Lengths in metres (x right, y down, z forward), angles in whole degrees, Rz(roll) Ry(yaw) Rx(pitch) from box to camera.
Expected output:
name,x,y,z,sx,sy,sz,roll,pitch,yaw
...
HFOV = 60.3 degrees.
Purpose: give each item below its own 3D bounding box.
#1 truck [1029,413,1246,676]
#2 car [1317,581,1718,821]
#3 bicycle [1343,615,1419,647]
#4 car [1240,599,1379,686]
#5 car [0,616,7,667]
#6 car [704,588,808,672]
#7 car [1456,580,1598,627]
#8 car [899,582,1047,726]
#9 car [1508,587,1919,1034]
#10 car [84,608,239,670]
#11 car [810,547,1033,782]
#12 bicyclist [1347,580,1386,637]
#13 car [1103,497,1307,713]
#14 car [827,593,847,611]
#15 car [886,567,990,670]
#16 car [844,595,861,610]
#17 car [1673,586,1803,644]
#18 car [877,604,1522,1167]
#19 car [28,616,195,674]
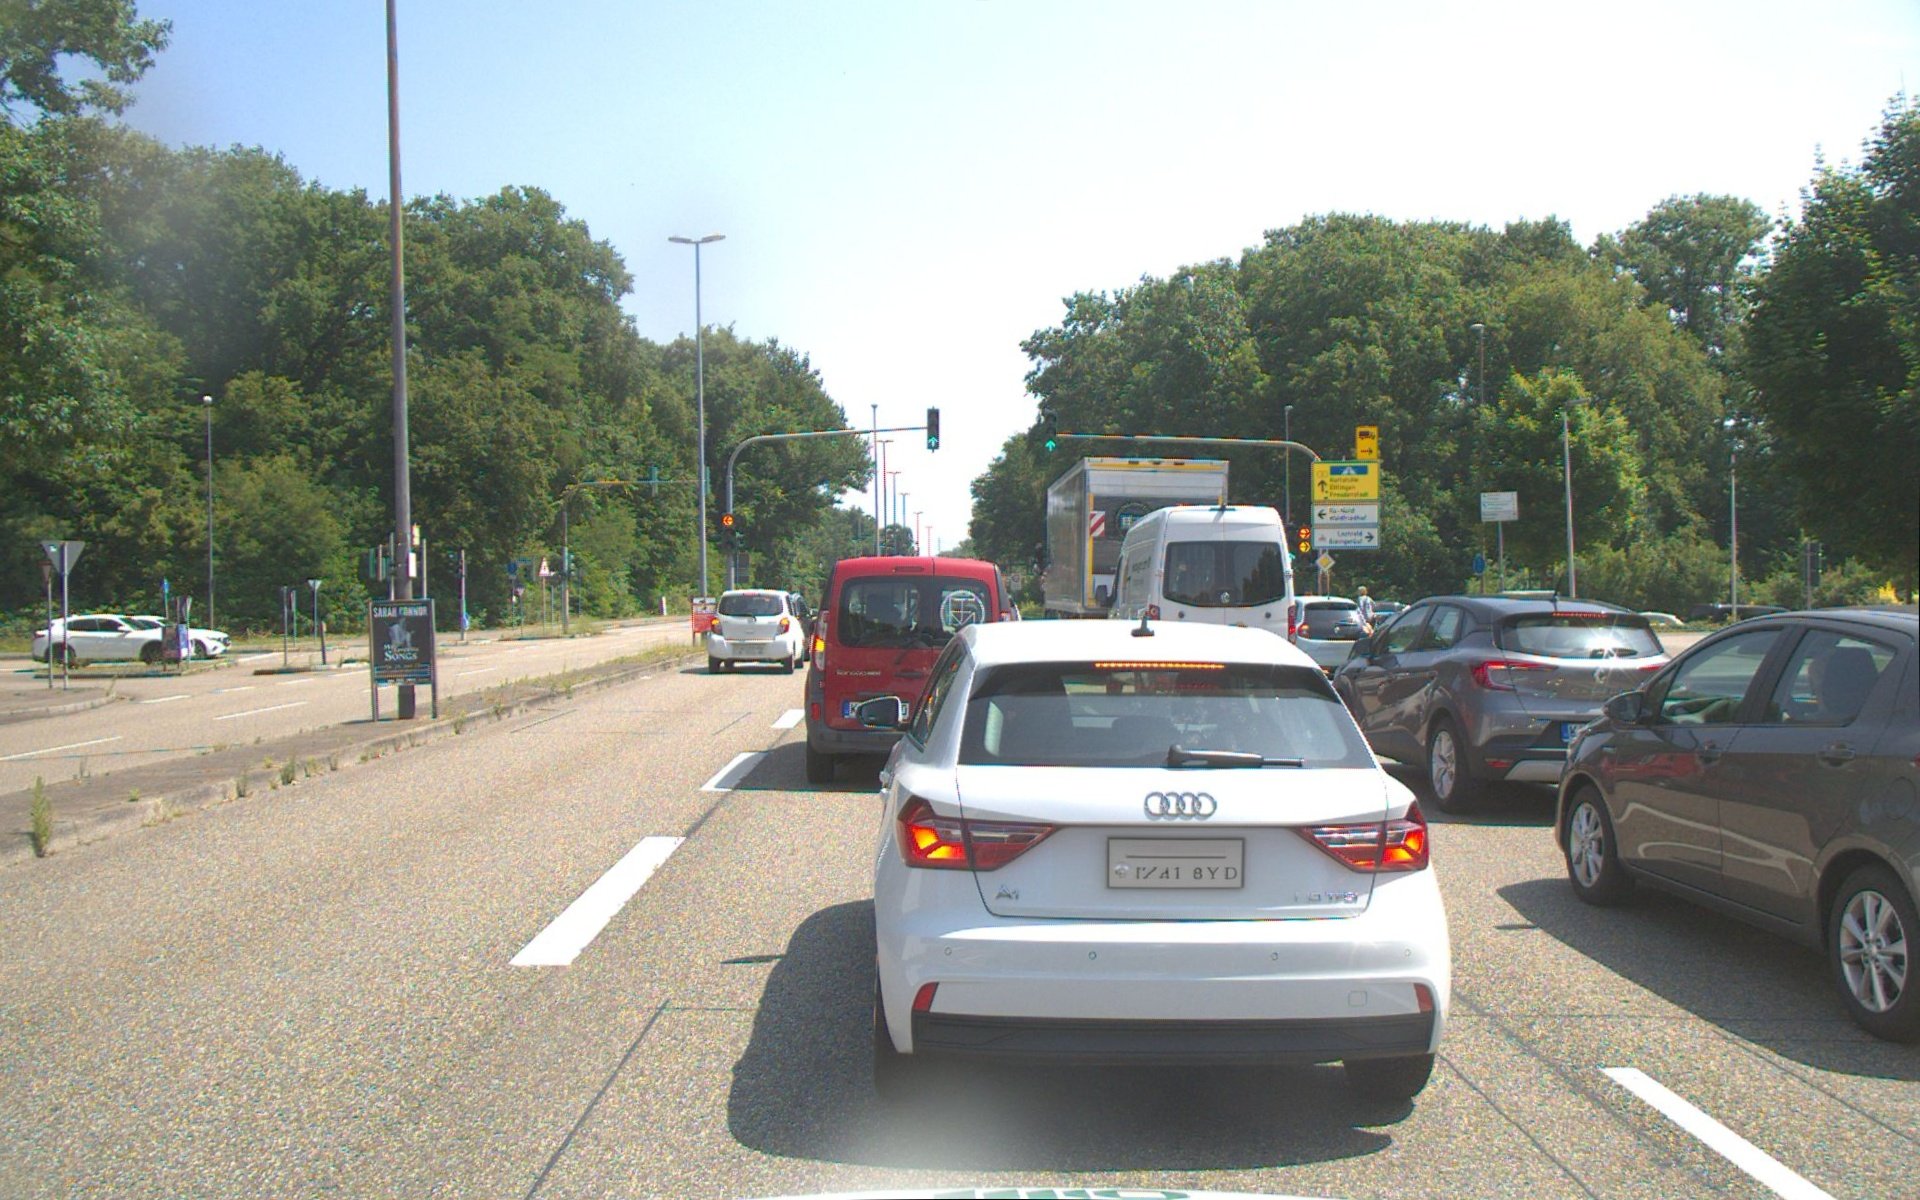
name,x,y,z,sx,sy,sz,roll,pitch,yaw
truck,3.316,-0.990,34.432,3.026,4.511,11.577,1,0,-1
car,4.221,0.676,13.239,1.677,1.621,4.090,0,0,-3
bicycle,10.846,0.787,42.594,1.785,0.779,0.600,-1,0,-5
car,6.751,0.777,32.344,1.677,1.573,4.090,0,0,-3
car,-34.472,1.361,55.141,4.294,1.711,1.805,1,-1,-13
car,-3.885,0.544,32.023,1.677,1.519,4.090,0,0,-3
car,19.991,0.113,58.450,4.381,1.557,1.797,-1,0,-2
car,0.079,0.614,21.101,1.677,1.660,4.090,0,0,-3
car,4.028,0.743,7.268,1.678,1.504,4.090,3,0,-3
car,-27.008,1.298,56.074,4.291,1.710,1.807,-4,0,-9
car,-0.379,0.480,14.574,1.677,1.779,4.090,0,0,-3
bicyclist,10.470,0.217,42.596,0.810,1.464,0.598,-1,0,-5
car,3.277,0.053,23.112,1.990,2.690,4.843,0,0,-2
car,-13.135,0.201,177.318,1.953,1.803,4.203,-1,0,-2
car,-0.442,0.295,28.857,1.677,1.660,4.090,0,0,-3
car,-13.123,0.331,201.807,1.793,1.758,3.999,-1,0,-2
car,28.924,0.541,61.568,3.906,2.049,2.000,-1,0,-1
car,0.538,0.739,6.318,1.677,1.410,4.090,0,0,-3
car,-26.747,1.413,52.259,4.290,1.711,1.807,1,-1,-9
